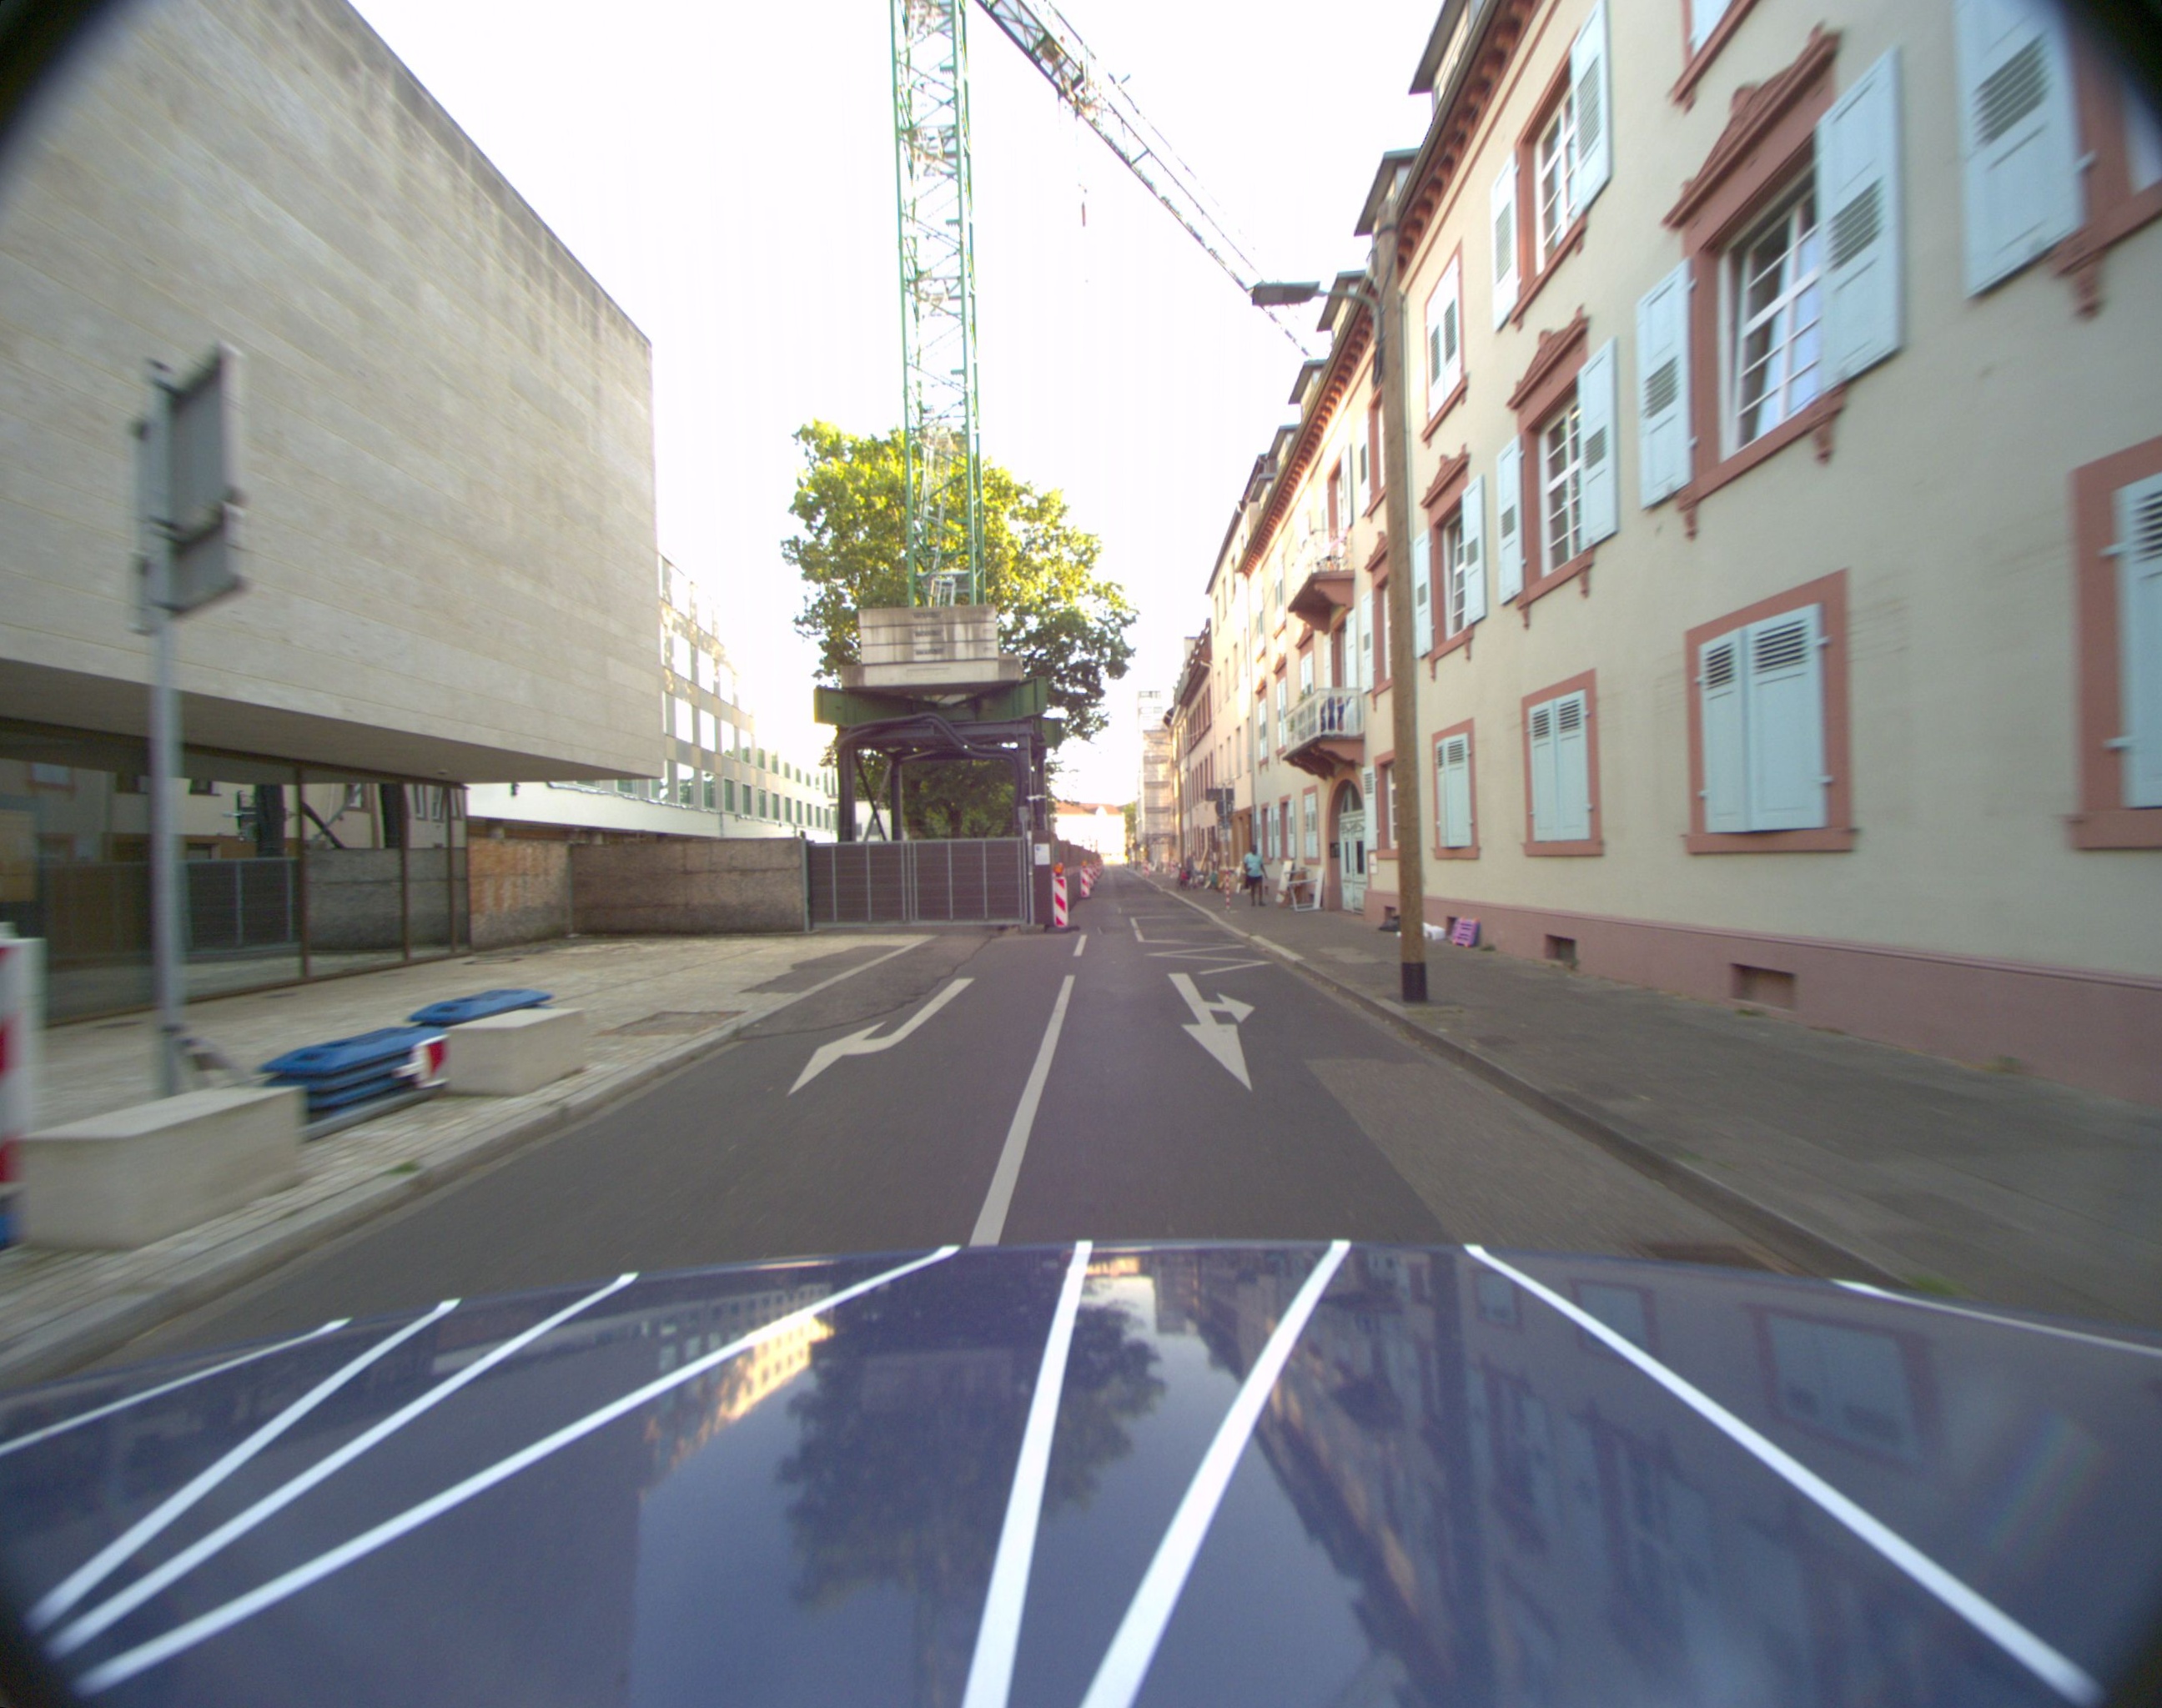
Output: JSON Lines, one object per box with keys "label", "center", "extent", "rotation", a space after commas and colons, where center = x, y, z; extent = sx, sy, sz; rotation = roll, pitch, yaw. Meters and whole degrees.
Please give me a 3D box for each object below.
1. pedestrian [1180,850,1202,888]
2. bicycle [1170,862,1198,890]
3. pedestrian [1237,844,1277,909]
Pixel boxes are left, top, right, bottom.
{"label": "pedestrian", "center": [4.972, 0.665, 34.280], "extent": [0.826, 1.687, 0.649], "rotation": [-2, 0, 1]}
{"label": "bicycle", "center": [4.536, 0.953, 33.360], "extent": [0.659, 1.163, 1.611], "rotation": [-2, 0, 28]}
{"label": "pedestrian", "center": [4.812, 0.615, 20.823], "extent": [0.826, 1.687, 0.649], "rotation": [-5, 0, 1]}
